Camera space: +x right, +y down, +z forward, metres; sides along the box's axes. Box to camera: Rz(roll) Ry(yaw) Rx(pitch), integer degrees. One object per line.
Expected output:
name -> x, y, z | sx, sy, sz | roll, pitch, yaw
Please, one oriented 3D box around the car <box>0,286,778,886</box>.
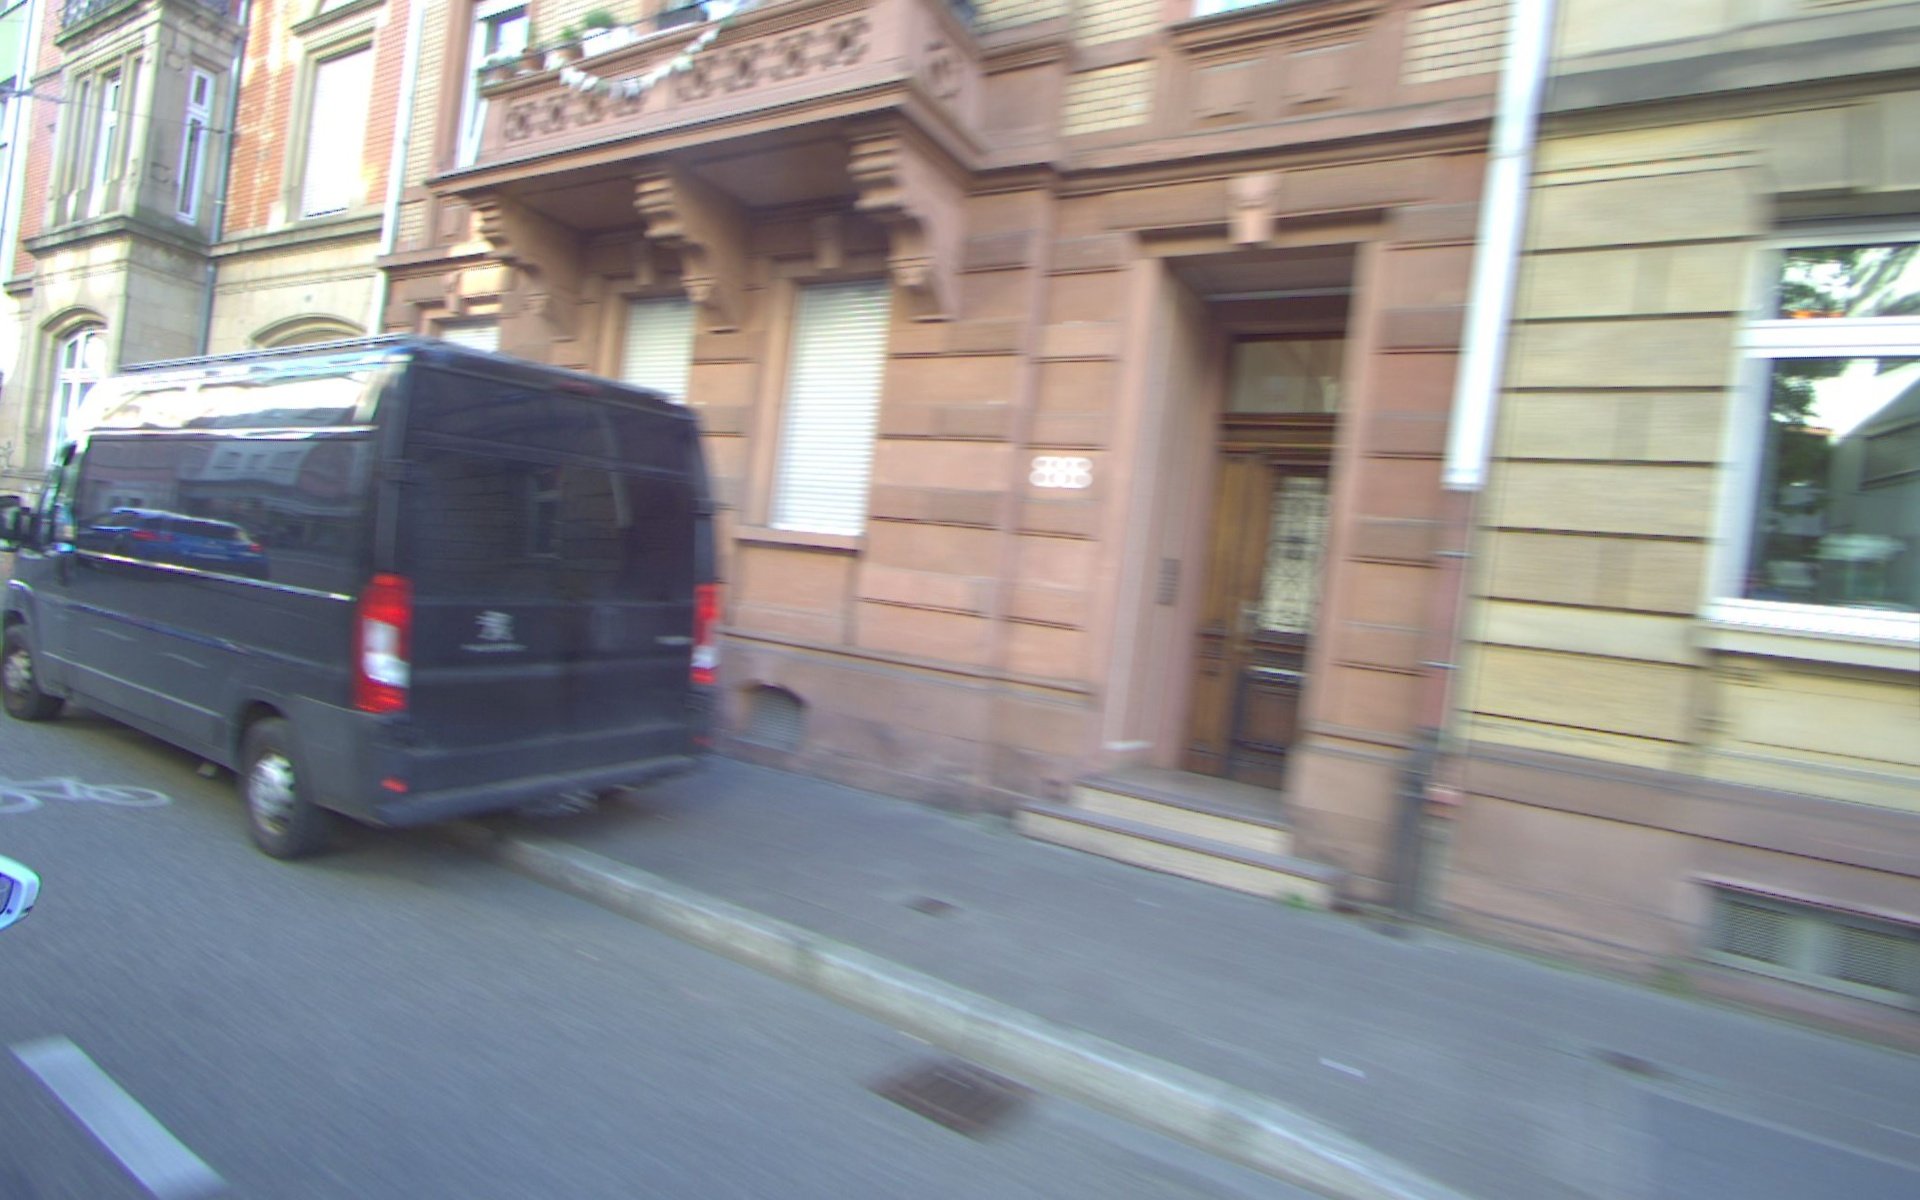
car -> -4.160, -0.262, 6.623 | 5.627, 2.467, 2.272 | 7, 1, 34
